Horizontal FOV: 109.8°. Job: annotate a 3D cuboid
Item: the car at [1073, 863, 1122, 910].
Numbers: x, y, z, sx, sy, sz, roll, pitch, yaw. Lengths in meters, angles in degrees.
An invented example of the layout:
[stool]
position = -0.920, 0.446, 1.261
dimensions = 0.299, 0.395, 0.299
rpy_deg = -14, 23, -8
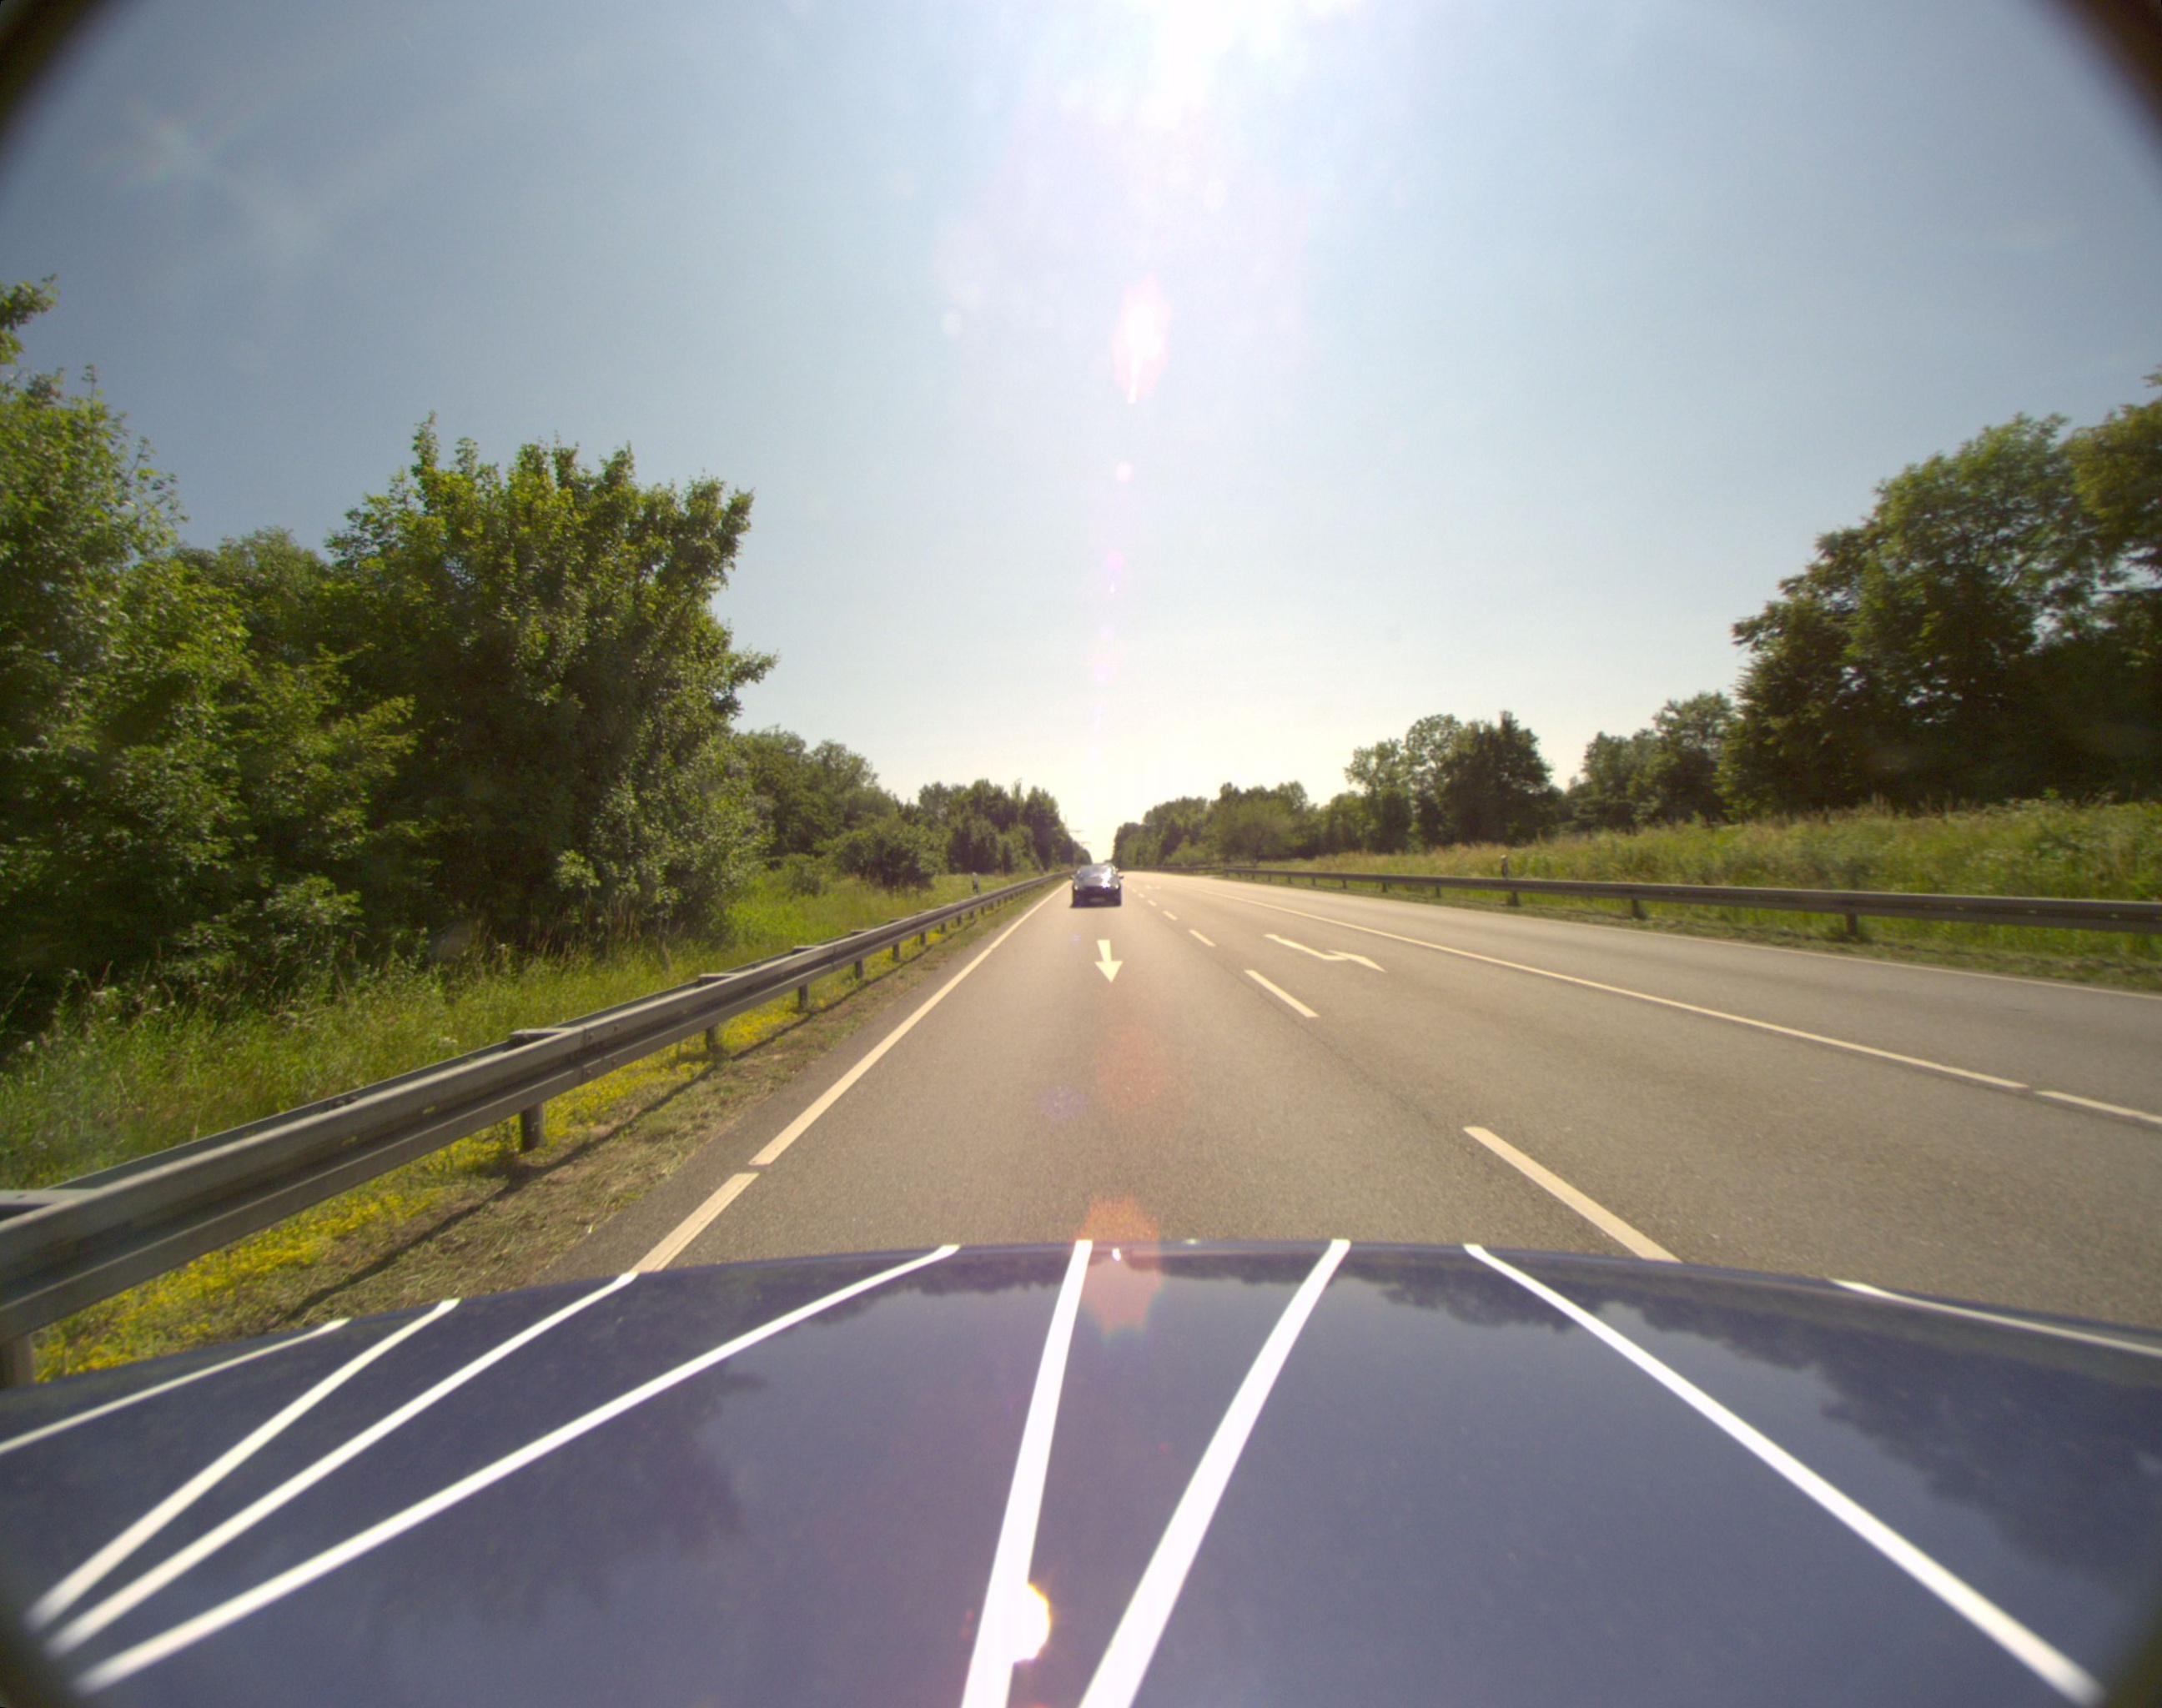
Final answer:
[car]
position = 0.567, 1.051, 25.644
dimensions = 1.529, 1.387, 3.443
rpy_deg = -2, 0, 1
